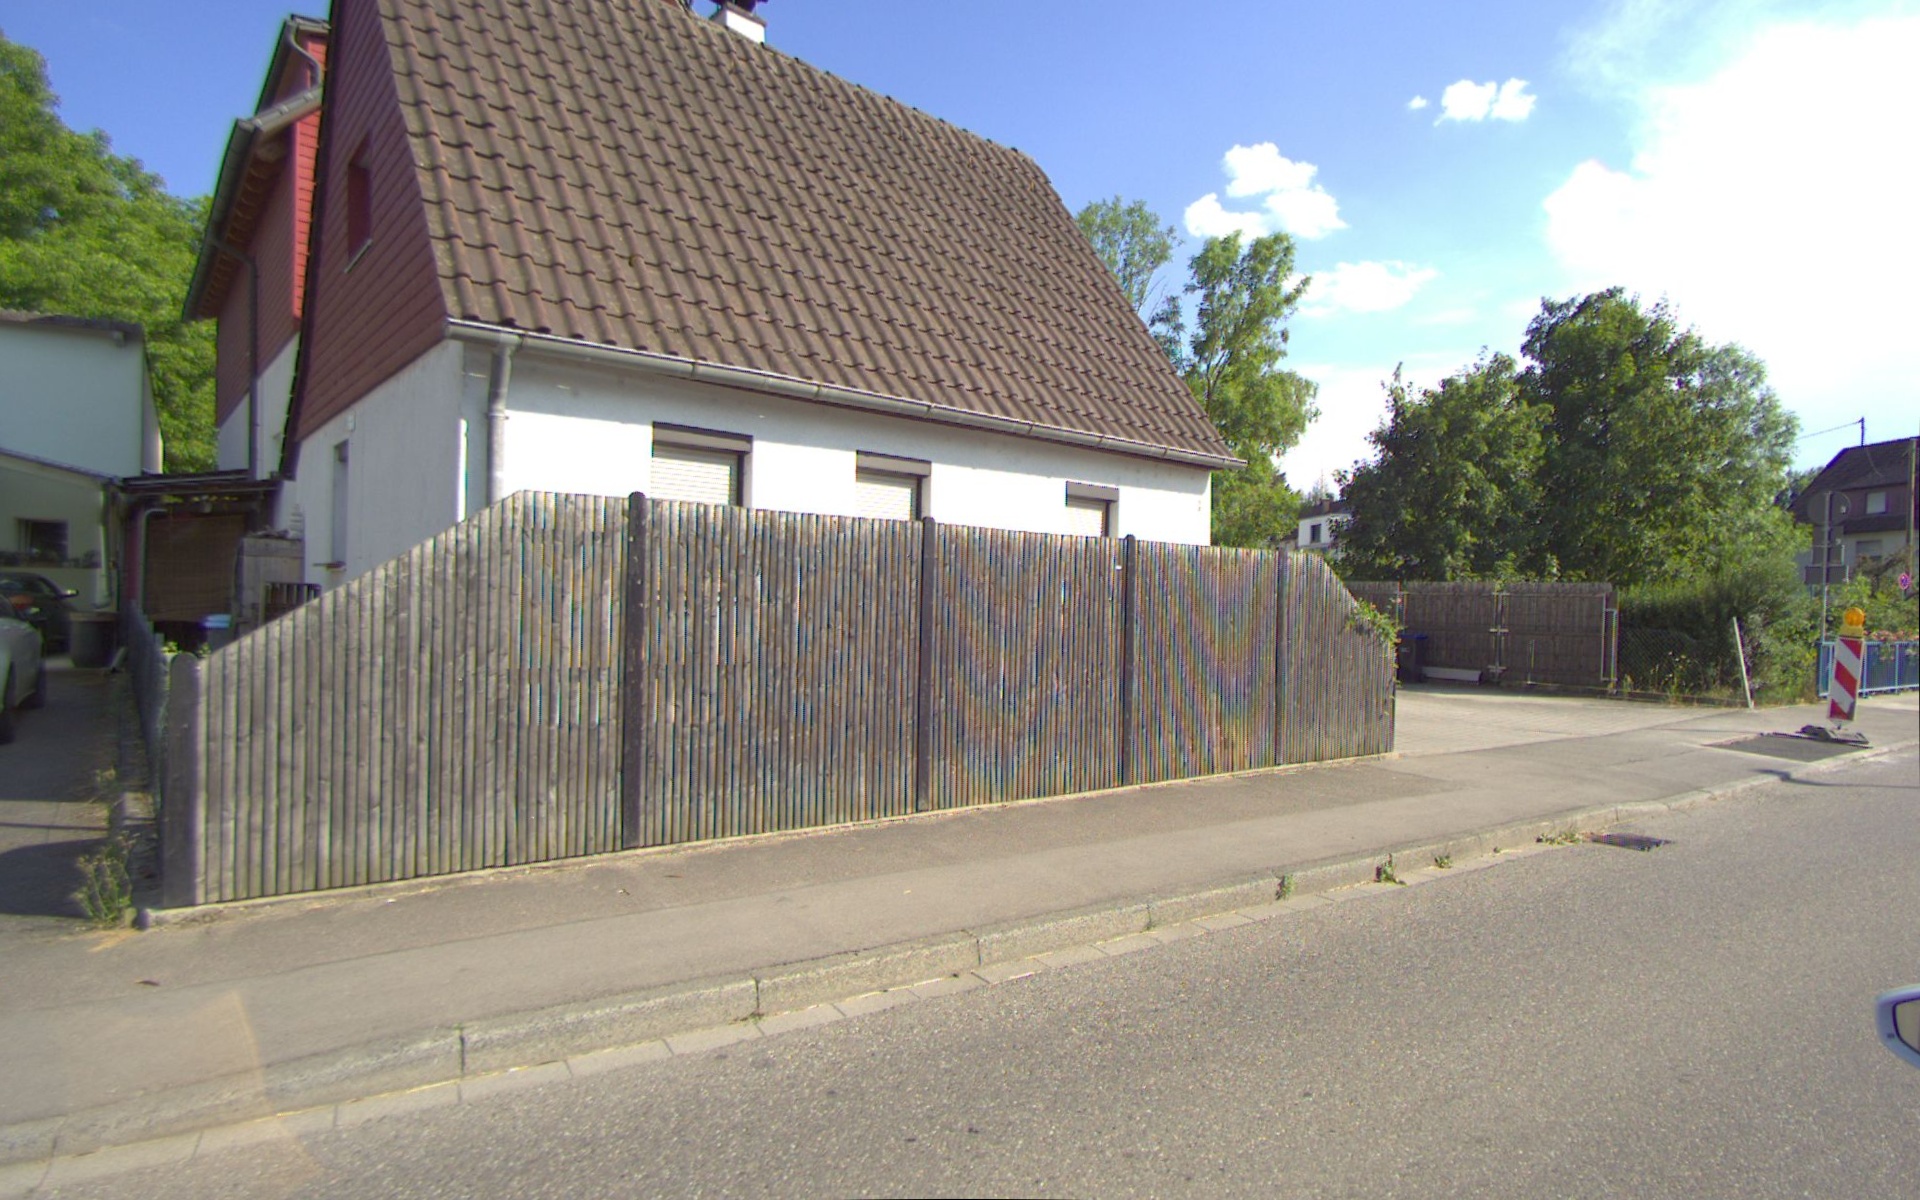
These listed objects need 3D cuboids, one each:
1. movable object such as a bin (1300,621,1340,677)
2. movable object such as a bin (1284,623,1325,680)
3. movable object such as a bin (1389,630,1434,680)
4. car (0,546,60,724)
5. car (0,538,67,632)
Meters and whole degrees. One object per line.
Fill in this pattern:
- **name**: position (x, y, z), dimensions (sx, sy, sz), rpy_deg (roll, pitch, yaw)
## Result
- **movable object such as a bin**: position (7.269, 0.979, 20.278), dimensions (0.588, 1.064, 0.542), rpy_deg (-1, 2, -40)
- **movable object such as a bin**: position (6.810, 1.009, 19.861), dimensions (0.588, 1.064, 0.542), rpy_deg (-1, 2, -40)
- **movable object such as a bin**: position (8.897, 1.079, 19.801), dimensions (0.586, 0.930, 0.588), rpy_deg (0, 2, -34)
- **car**: position (-9.512, 0.238, 9.079), dimensions (1.803, 1.432, 3.852), rpy_deg (-1, 2, -39)
- **car**: position (-16.108, -0.283, 16.761), dimensions (1.599, 1.431, 3.852), rpy_deg (0, 1, -39)
